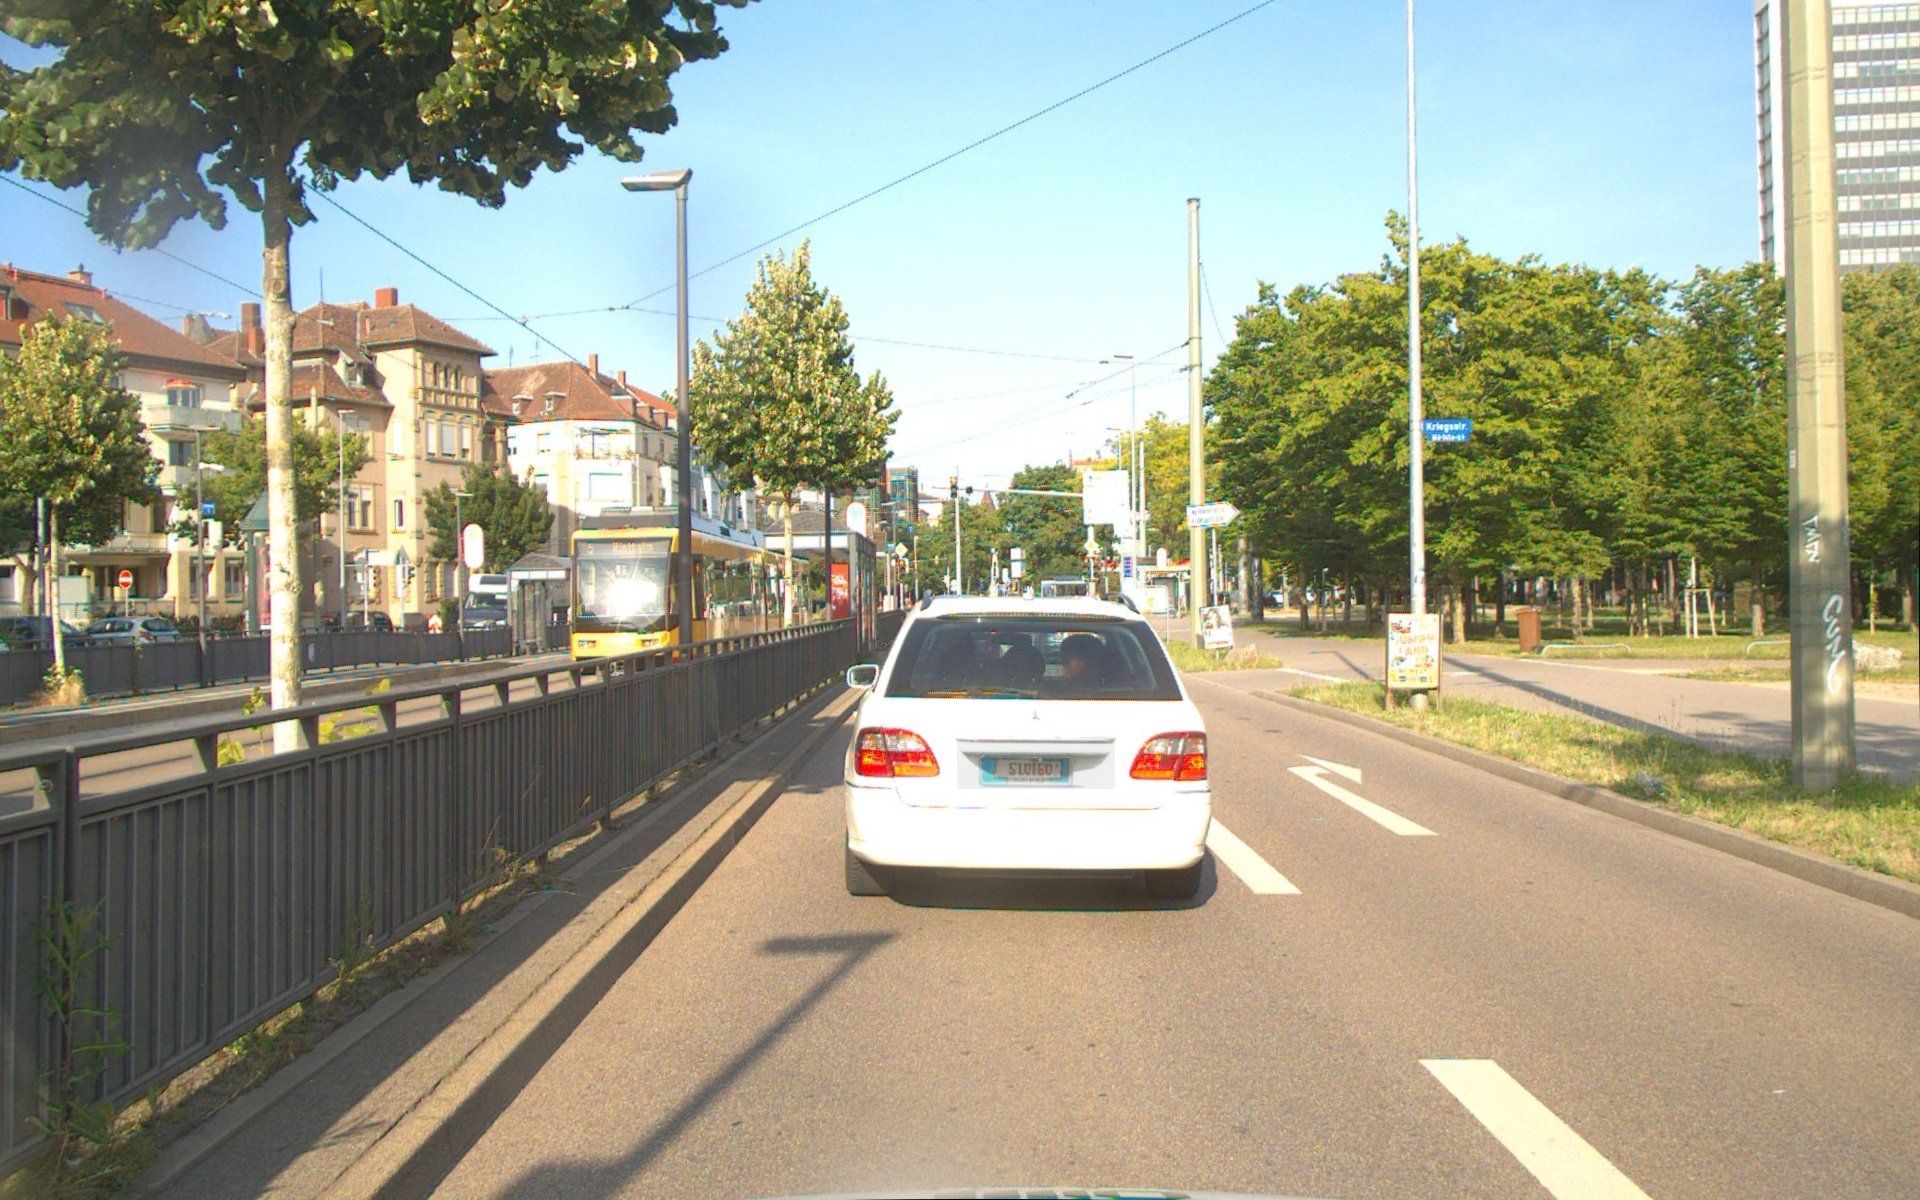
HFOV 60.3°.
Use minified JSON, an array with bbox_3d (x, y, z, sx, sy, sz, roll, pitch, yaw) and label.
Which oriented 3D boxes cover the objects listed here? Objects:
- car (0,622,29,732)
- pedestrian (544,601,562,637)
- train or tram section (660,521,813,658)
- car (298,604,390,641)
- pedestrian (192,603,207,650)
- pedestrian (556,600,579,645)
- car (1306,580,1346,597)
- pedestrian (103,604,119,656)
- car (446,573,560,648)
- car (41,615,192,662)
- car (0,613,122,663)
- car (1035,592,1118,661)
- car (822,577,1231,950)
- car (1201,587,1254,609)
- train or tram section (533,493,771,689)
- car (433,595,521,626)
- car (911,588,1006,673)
[{"bbox_3d":[-16.094,1.236,24.878,1.953,1.713,3.999,-1,0,-1],"label":"car"},{"bbox_3d":[-20.659,0.948,83.919,0.651,1.784,0.746,0,0,3],"label":"pedestrian"},{"bbox_3d":[-6.392,-0.321,49.583,2.791,3.540,13.199,-1,0,0],"label":"train or tram section"},{"bbox_3d":[-30.630,1.094,82.263,3.903,1.780,2.001,0,0,17],"label":"car"},{"bbox_3d":[-33.331,1.154,72.492,0.412,2.049,0.434,0,0,18],"label":"pedestrian"},{"bbox_3d":[-15.738,0.897,66.315,0.870,1.784,0.744,-1,0,-11],"label":"pedestrian"},{"bbox_3d":[37.325,-1.172,168.648,3.902,1.680,2.002,-2,0,14],"label":"car"},{"bbox_3d":[-34.064,1.208,66.370,0.374,2.049,0.408,0,0,18],"label":"pedestrian"},{"bbox_3d":[-18.103,0.376,65.938,2.543,2.783,7.467,-1,0,-1],"label":"car"},{"bbox_3d":[-26.581,1.207,52.169,3.902,1.422,2.002,0,0,14],"label":"car"},{"bbox_3d":[-27.464,1.125,49.515,3.902,1.422,2.002,0,0,14],"label":"car"},{"bbox_3d":[2.945,0.638,42.028,1.990,1.633,4.002,-1,0,4],"label":"car"},{"bbox_3d":[0.312,0.675,9.094,1.722,1.529,4.001,-1,1,1],"label":"car"},{"bbox_3d":[21.896,-0.197,135.419,3.908,1.680,1.999,-2,0,25],"label":"car"},{"bbox_3d":[-6.325,-0.225,36.537,2.791,3.540,13.199,0,1,0],"label":"train or tram section"},{"bbox_3d":[-26.482,0.566,90.792,2.159,1.656,4.716,0,0,23],"label":"car"},{"bbox_3d":[0.020,0.603,35.561,1.750,1.719,4.002,-1,0,4],"label":"car"}]
